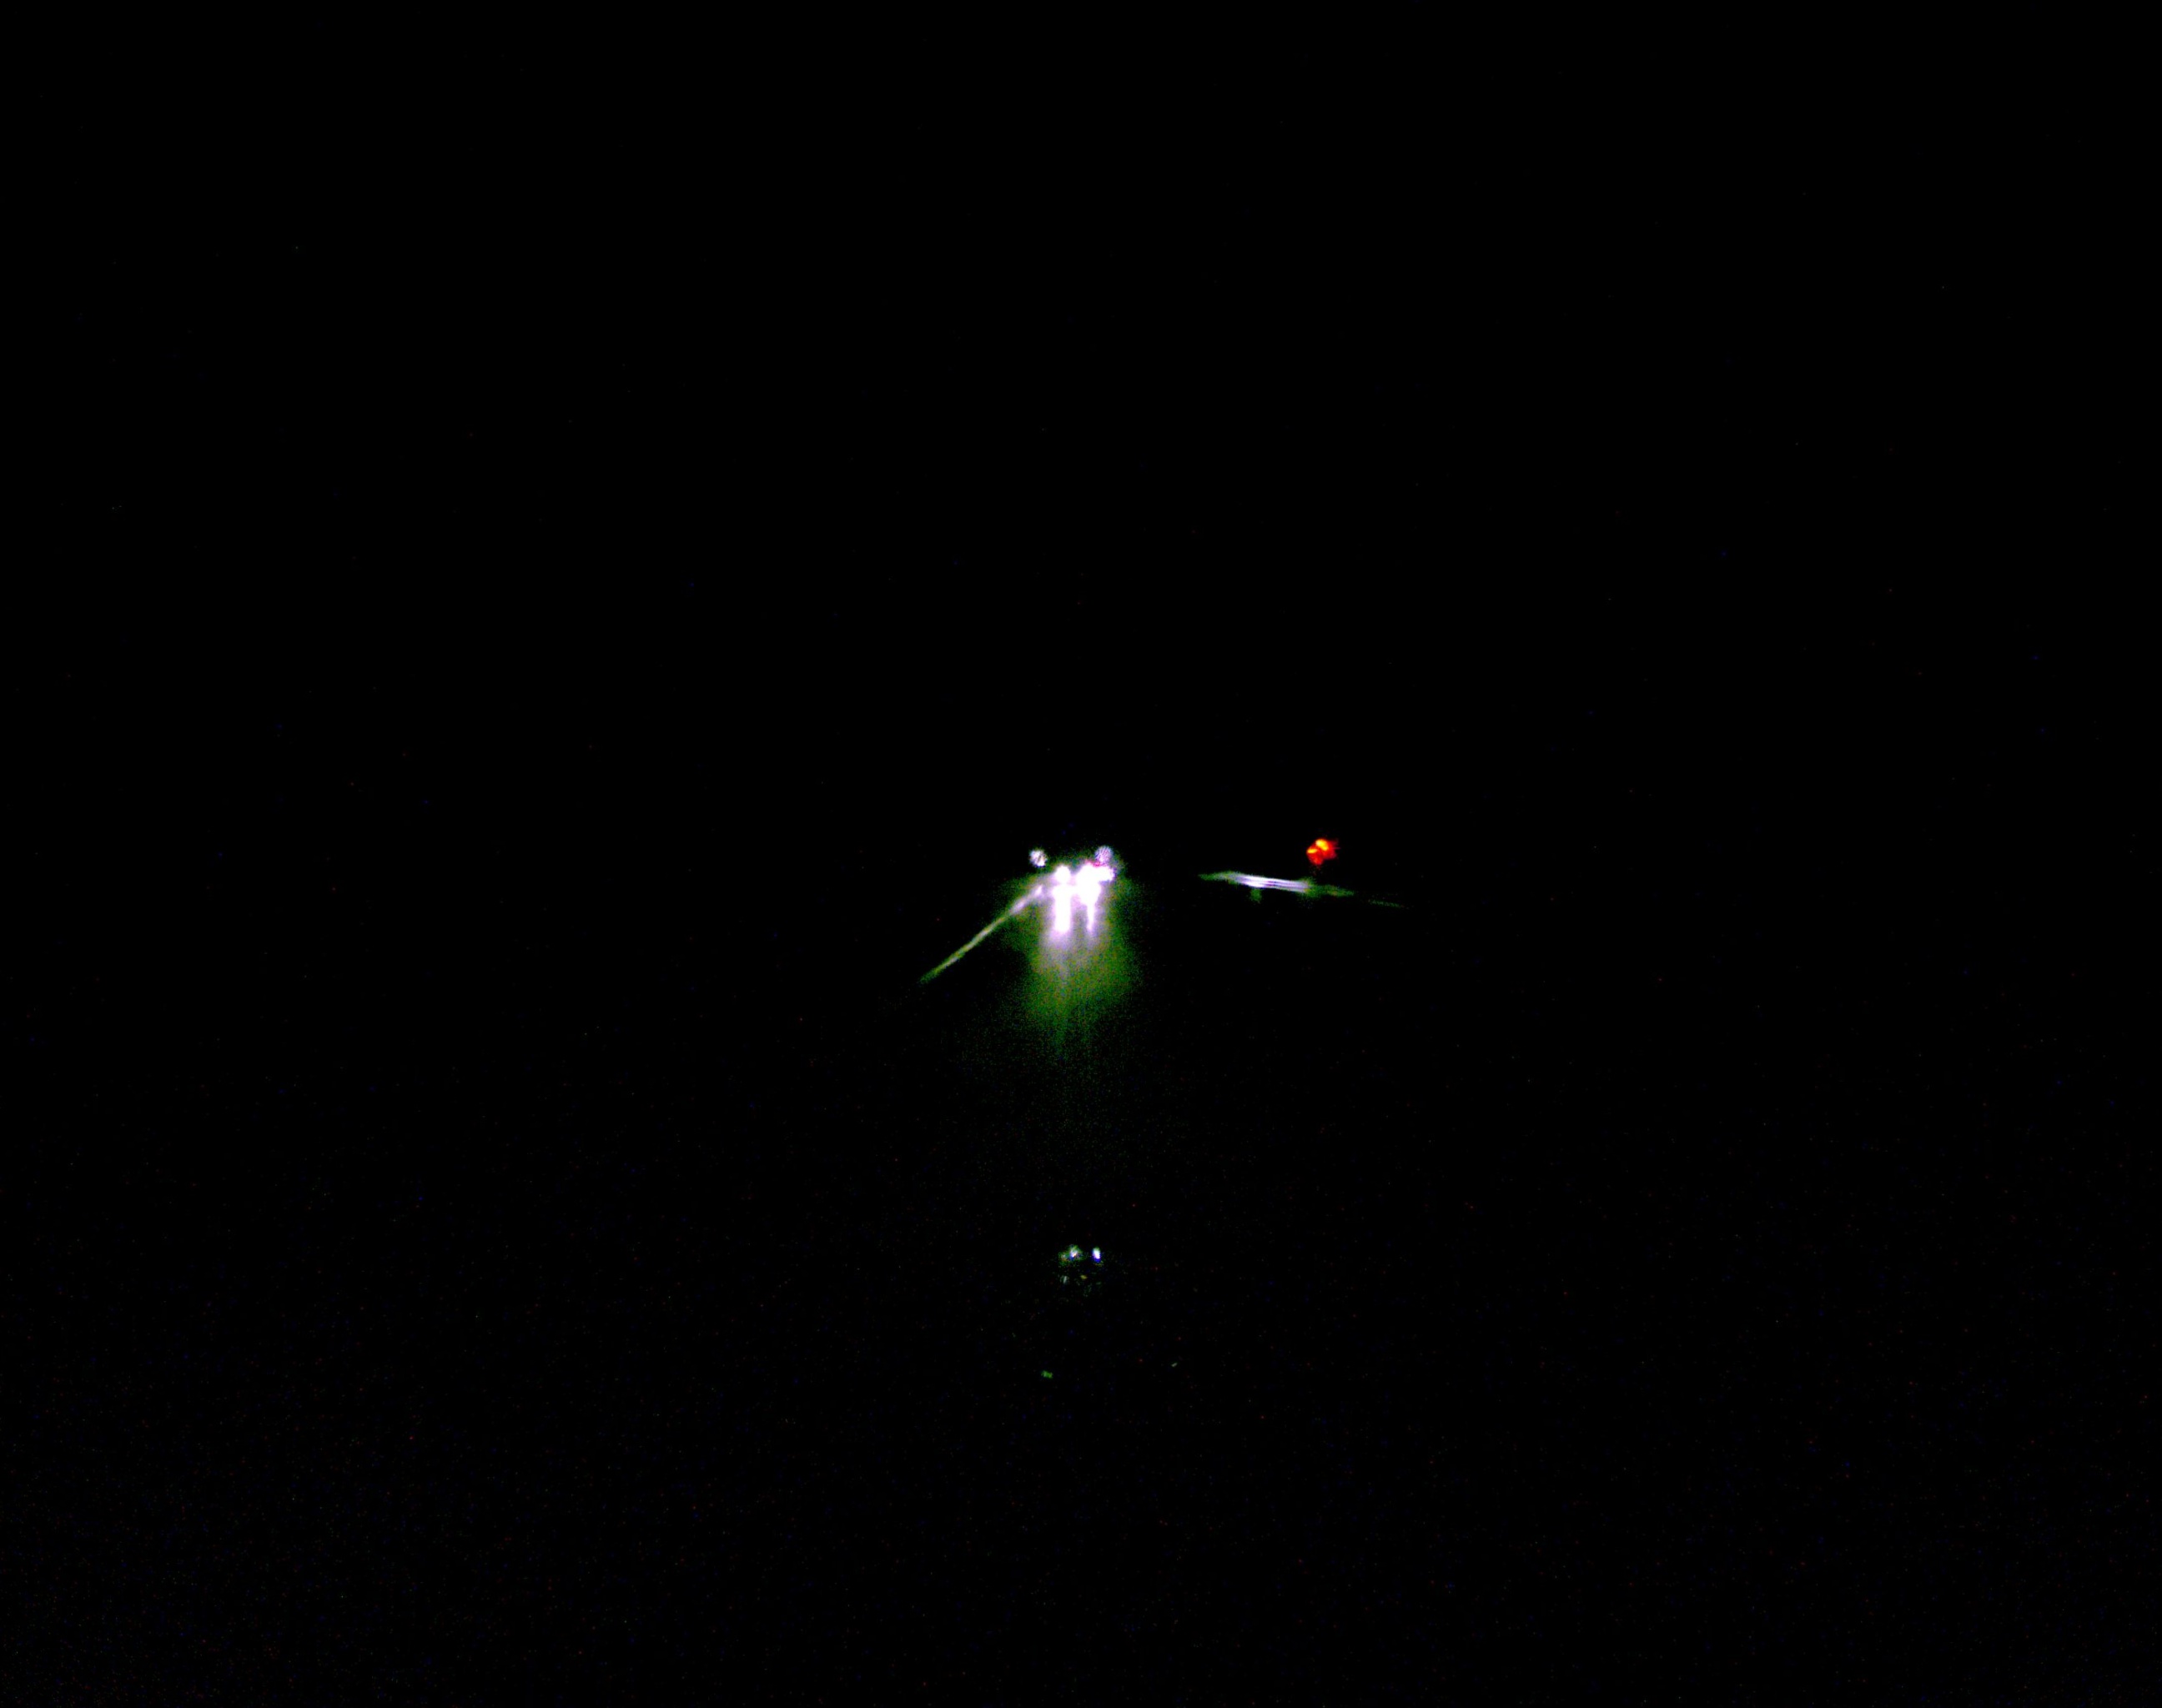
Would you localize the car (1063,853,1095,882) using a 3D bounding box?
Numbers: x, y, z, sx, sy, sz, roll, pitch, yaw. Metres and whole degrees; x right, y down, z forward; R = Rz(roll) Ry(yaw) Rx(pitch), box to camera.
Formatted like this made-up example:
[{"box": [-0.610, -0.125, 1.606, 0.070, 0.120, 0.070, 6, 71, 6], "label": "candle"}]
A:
[{"box": [-0.126, 0.857, 49.715, 1.999, 1.804, 4.000, -1, 0, 0], "label": "car"}]

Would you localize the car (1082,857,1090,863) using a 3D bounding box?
[{"box": [1.217, 1.378, 177.383, 1.833, 1.447, 3.793, 1, -1, -1], "label": "car"}]

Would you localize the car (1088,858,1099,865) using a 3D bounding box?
[{"box": [2.471, 1.450, 149.780, 1.841, 1.462, 4.391, -1, 0, -1], "label": "car"}]
